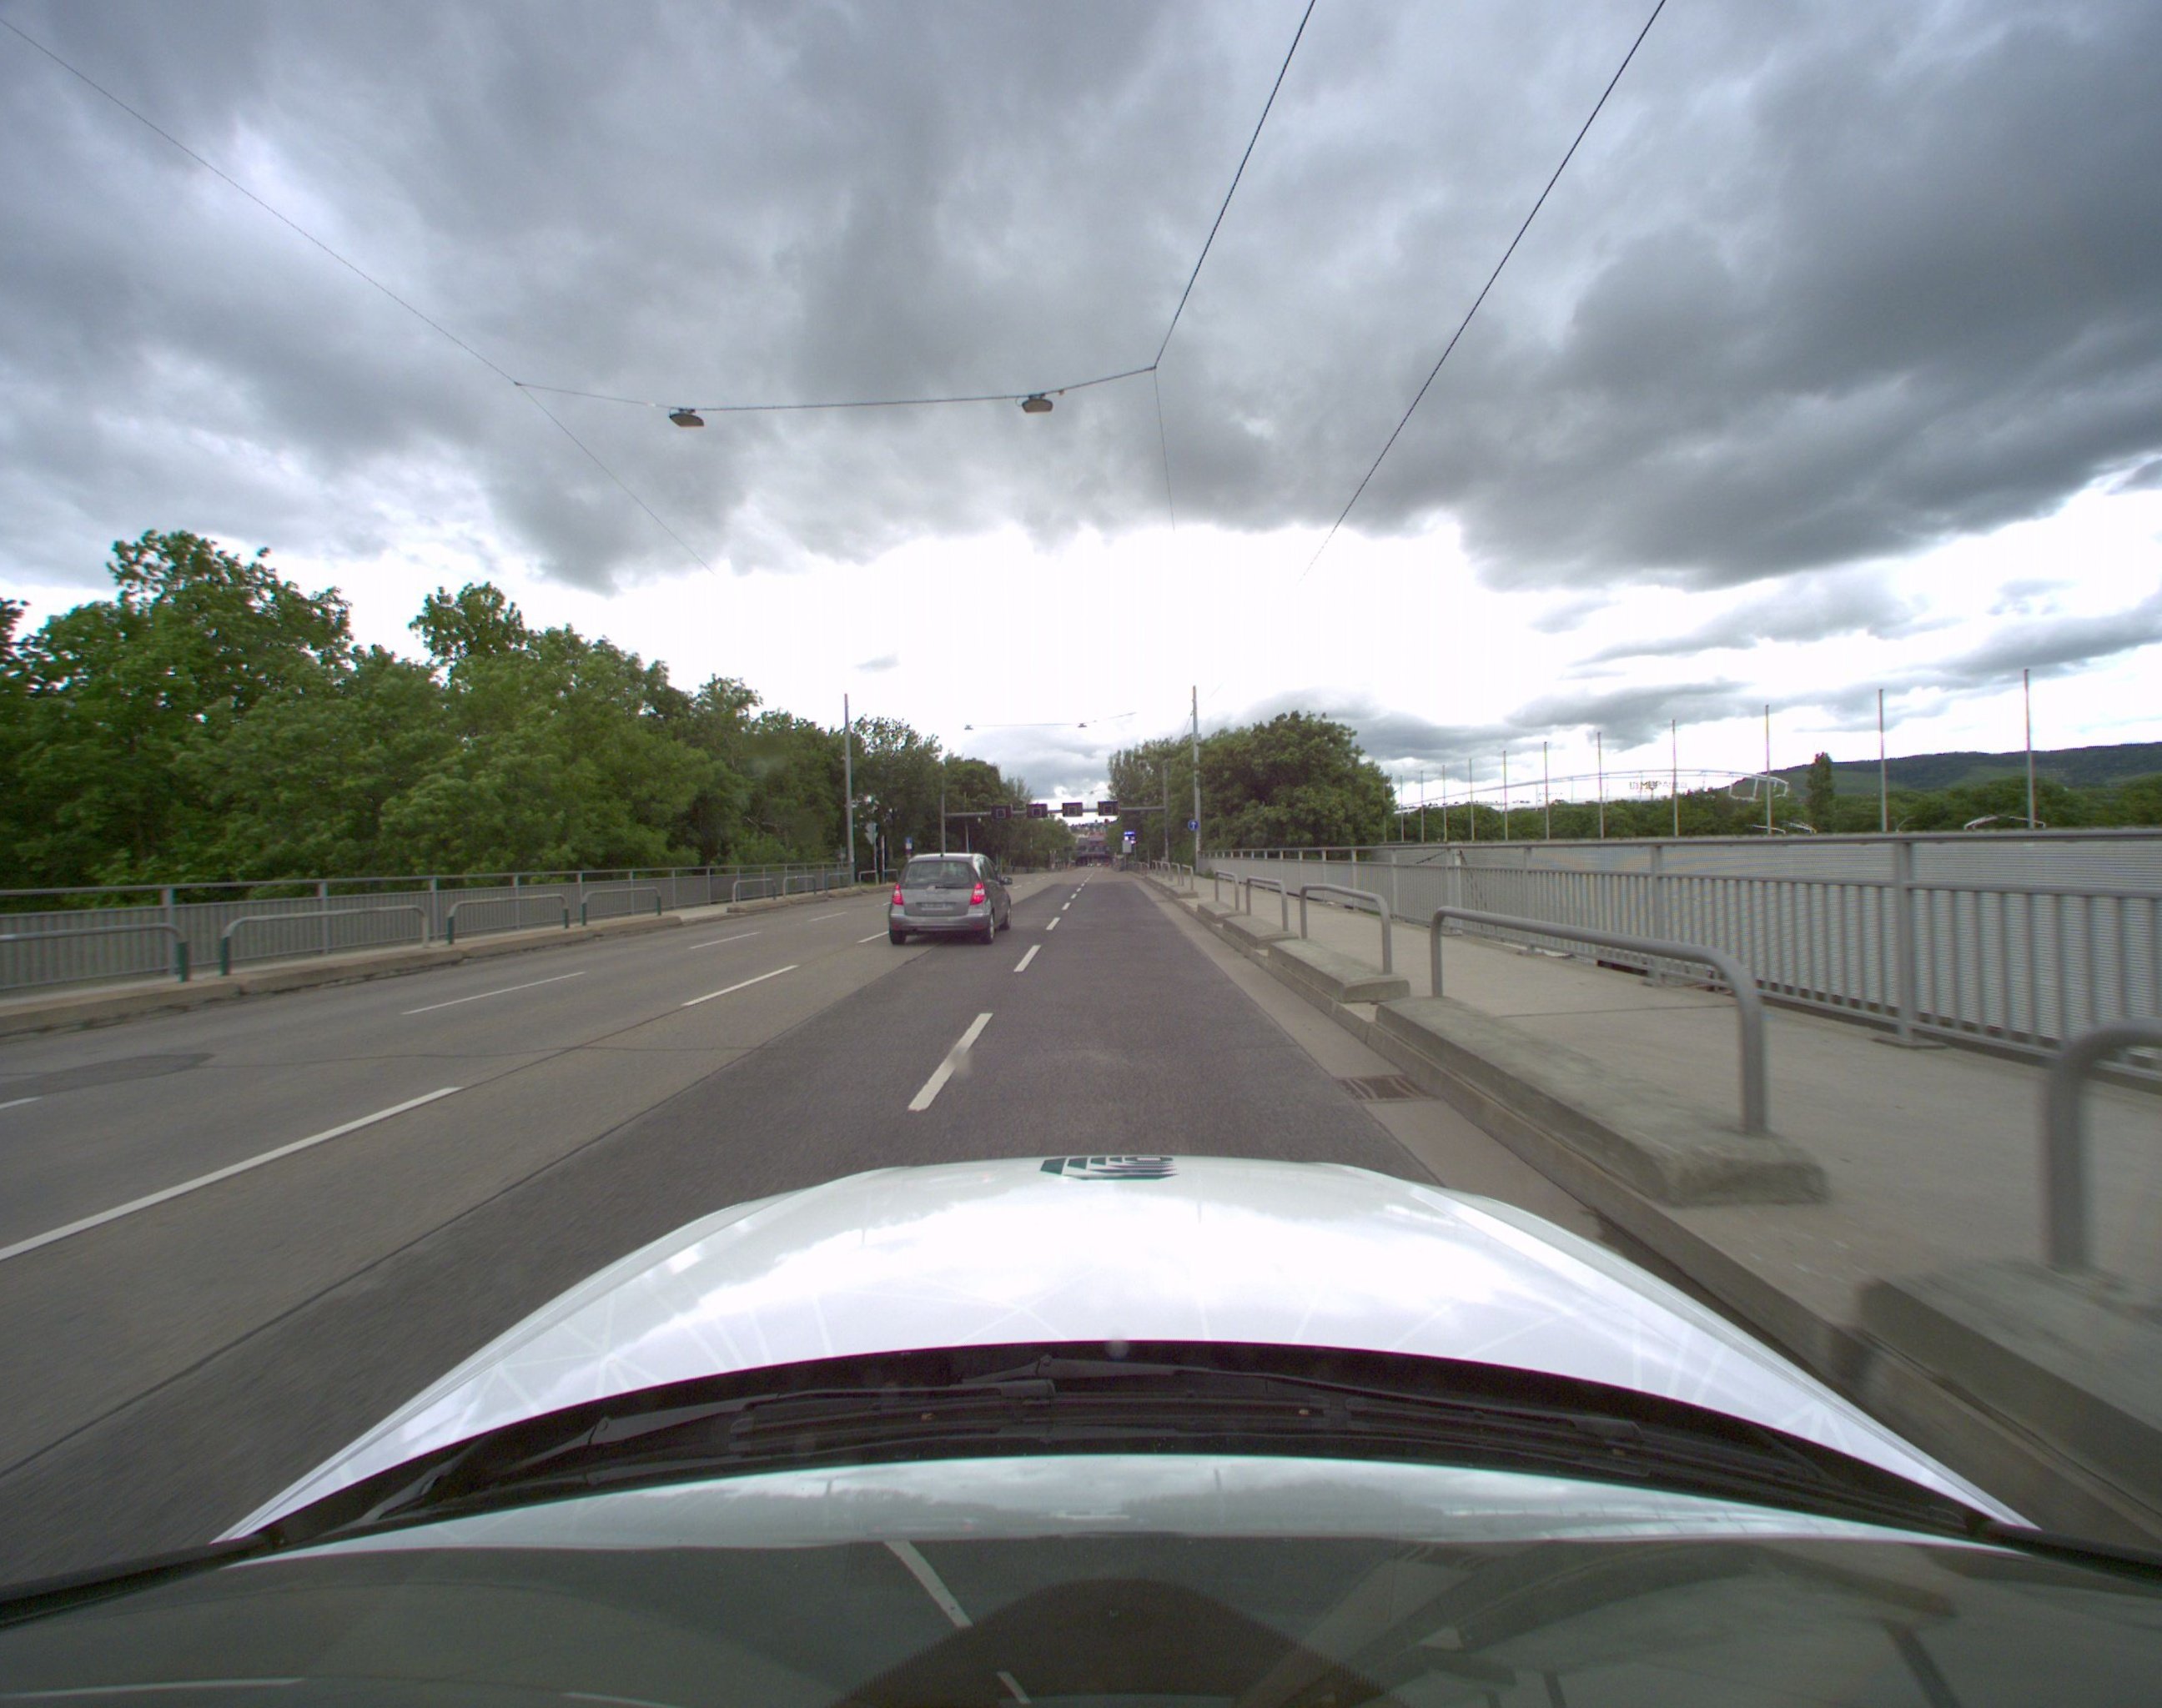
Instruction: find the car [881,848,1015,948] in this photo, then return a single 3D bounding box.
[{"bbox_3d":[-2.323,0.700,15.152,1.739,1.550,3.872,-1,1,1],"label":"car"}]
